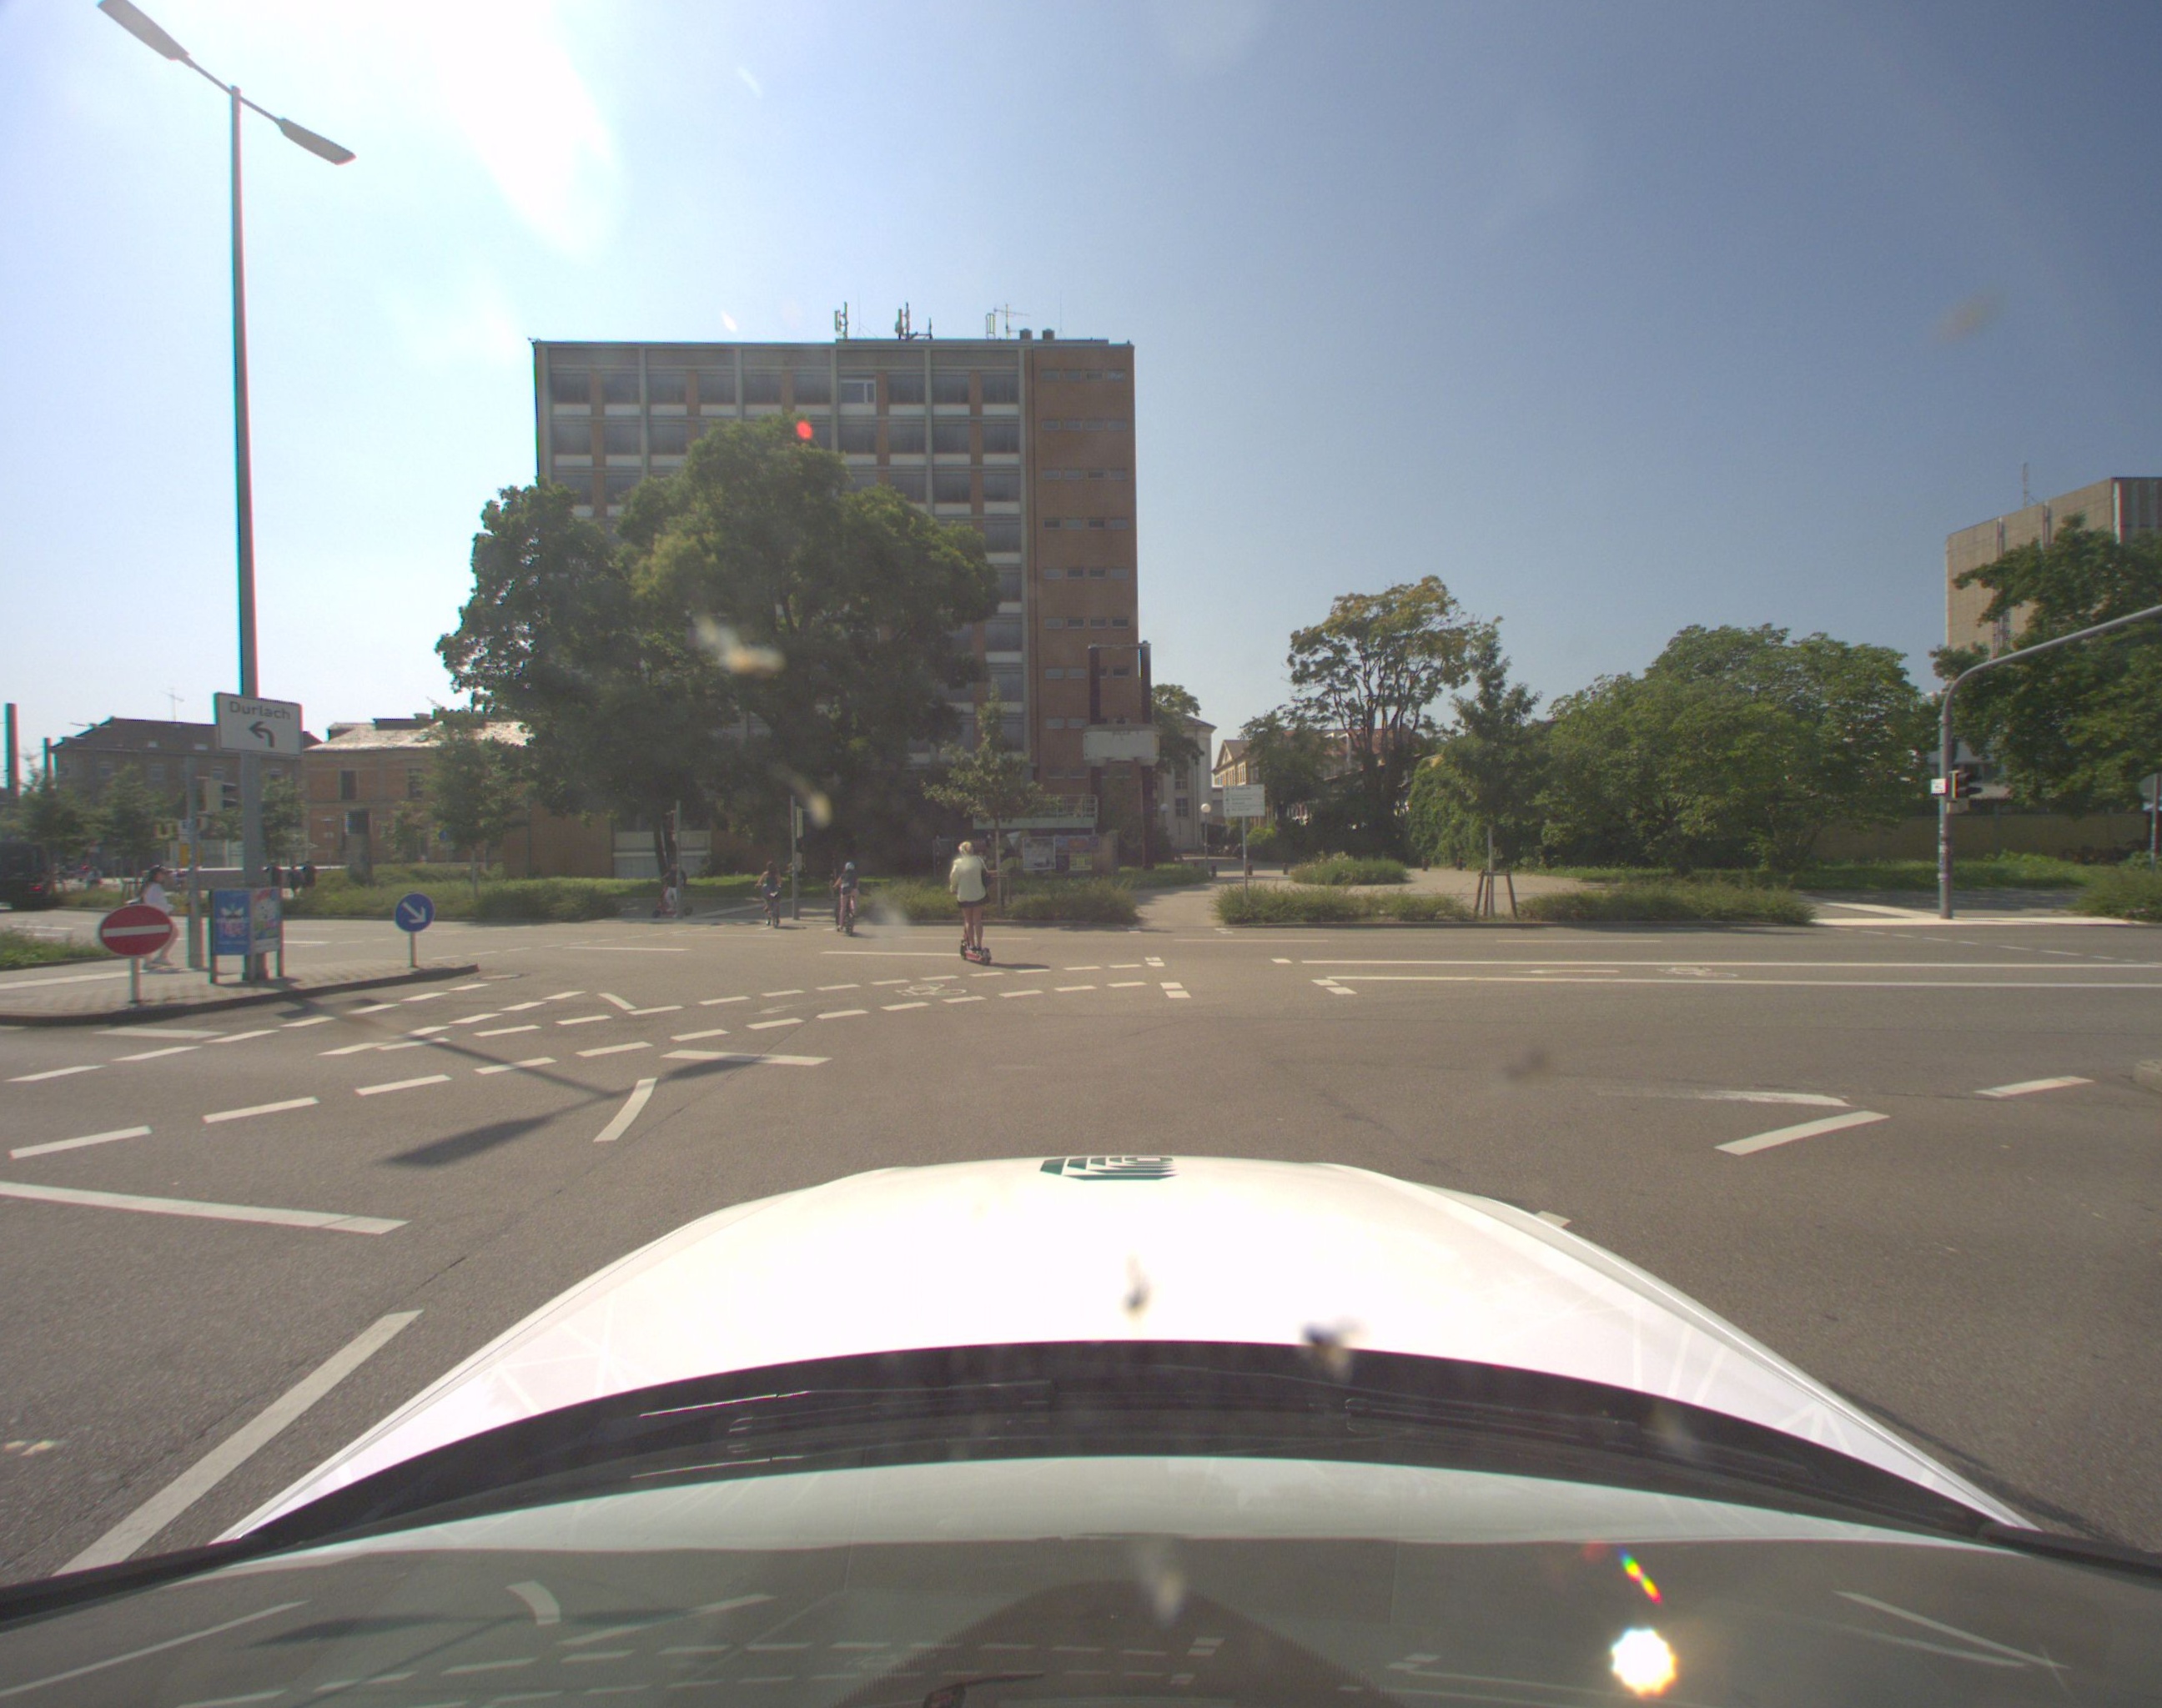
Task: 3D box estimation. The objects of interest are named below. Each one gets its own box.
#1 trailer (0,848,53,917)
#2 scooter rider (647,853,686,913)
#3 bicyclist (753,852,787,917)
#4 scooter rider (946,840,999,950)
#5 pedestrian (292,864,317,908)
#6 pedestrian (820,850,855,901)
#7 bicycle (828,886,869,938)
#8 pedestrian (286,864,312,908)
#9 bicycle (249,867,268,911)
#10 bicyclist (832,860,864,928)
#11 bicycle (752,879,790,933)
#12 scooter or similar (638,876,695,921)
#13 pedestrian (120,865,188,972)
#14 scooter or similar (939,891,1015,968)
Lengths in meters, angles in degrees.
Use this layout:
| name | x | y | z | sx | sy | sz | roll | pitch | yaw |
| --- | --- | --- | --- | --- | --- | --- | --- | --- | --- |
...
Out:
| name | x | y | z | sx | sy | sz | roll | pitch | yaw |
| --- | --- | --- | --- | --- | --- | --- | --- | --- | --- |
| trailer | -49.460 | 1.272 | 36.963 | 6.244 | 3.008 | 2.486 | -1 | -1 | 29 |
| scooter rider | -12.453 | 0.866 | 24.477 | 0.680 | 1.739 | 0.810 | -1 | 1 | 41 |
| bicyclist | -8.082 | 0.767 | 21.136 | 0.694 | 1.598 | 0.837 | -3 | 3 | -25 |
| scooter rider | -1.729 | 0.629 | 12.947 | 0.674 | 1.699 | 0.534 | 0 | -1 | -27 |
| pedestrian | -36.162 | 1.474 | 37.931 | 0.744 | 1.973 | 0.785 | -1 | 0 | 43 |
| pedestrian | -8.456 | 0.737 | 28.319 | 0.869 | 1.704 | 0.711 | -1 | 2 | 17 |
| bicycle | -5.337 | 1.293 | 18.627 | 0.559 | 1.060 | 1.987 | -1 | 0 | -25 |
| pedestrian | -35.654 | 1.455 | 37.111 | 0.744 | 1.973 | 0.785 | -1 | 0 | 43 |
| bicycle | -36.370 | 1.526 | 35.989 | 1.345 | 1.860 | 0.460 | -1 | 0 | 40 |
| bicyclist | -5.295 | 0.886 | 18.506 | 0.551 | 1.496 | 0.797 | -1 | 0 | -25 |
| bicycle | -8.071 | 1.306 | 21.159 | 0.697 | 1.154 | 2.352 | -3 | 2 | -25 |
| scooter or similar | -12.467 | 1.315 | 24.531 | 0.578 | 1.234 | 1.377 | -1 | 1 | 40 |
| pedestrian | -15.414 | 1.050 | 13.560 | 0.611 | 1.695 | 0.692 | -2 | 1 | -40 |
| scooter or similar | -1.679 | 1.148 | 12.859 | 0.559 | 1.060 | 1.986 | -1 | -1 | -26 |
